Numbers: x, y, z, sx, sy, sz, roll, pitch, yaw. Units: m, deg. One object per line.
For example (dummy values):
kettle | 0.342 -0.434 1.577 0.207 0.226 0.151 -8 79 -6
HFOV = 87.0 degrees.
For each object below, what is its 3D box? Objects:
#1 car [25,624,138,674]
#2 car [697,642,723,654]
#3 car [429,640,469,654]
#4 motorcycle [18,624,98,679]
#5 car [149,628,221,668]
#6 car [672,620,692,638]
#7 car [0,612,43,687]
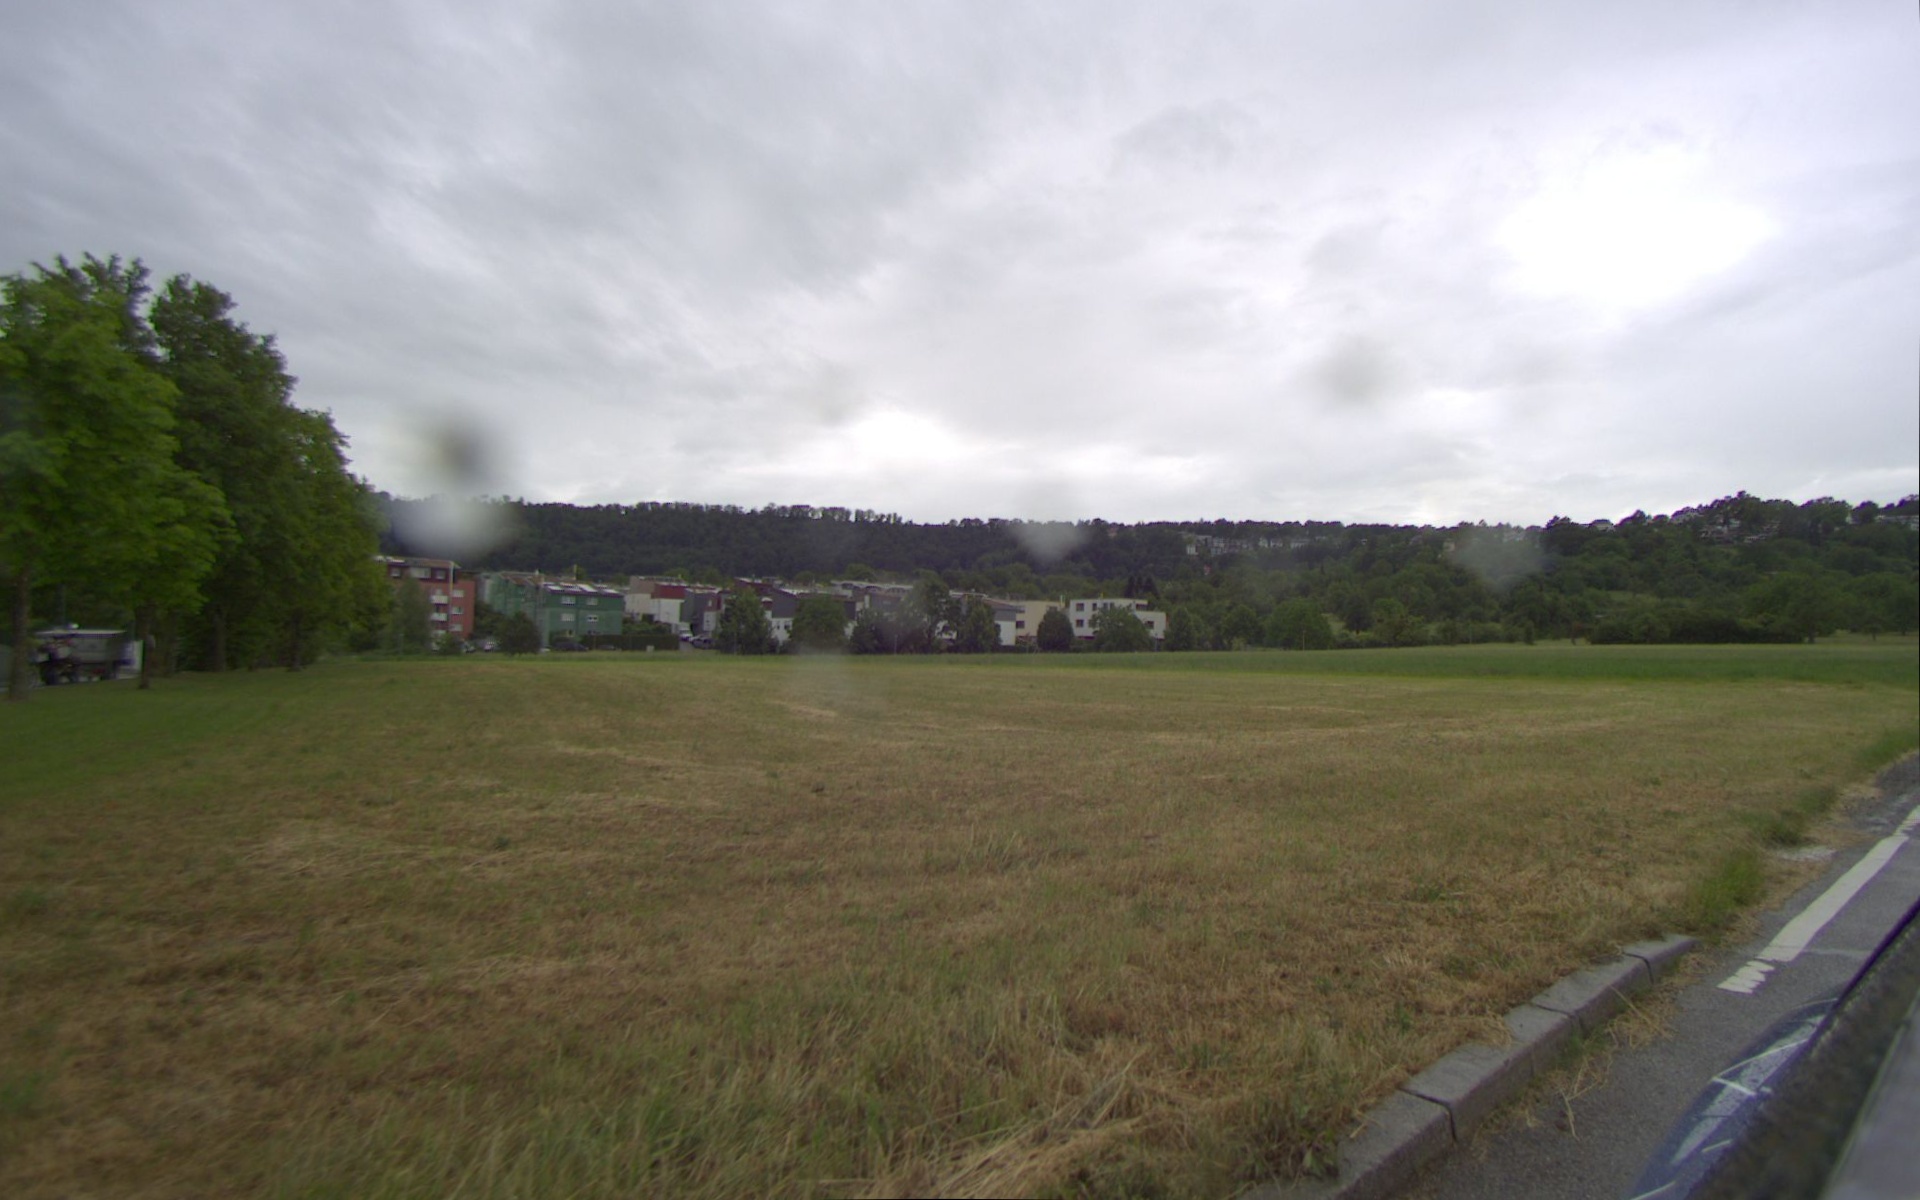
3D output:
car | -24.670 1.338 28.539 1.699 1.297 3.331 2 -2 -29
car | -43.940 8.367 177.750 3.925 2.039 1.999 2 -2 -36
car | -76.192 7.013 151.024 5.177 2.039 2.001 1 -1 -32
motorcycle | -22.676 1.287 25.493 0.951 1.319 2.267 2 -3 -29
car | -33.408 2.101 43.738 1.923 1.629 4.001 2 -5 -31
car | -52.471 5.497 190.731 2.099 3.266 5.089 1 -1 -34
car | -21.015 1.025 21.122 1.814 1.572 3.993 2 -2 -28
